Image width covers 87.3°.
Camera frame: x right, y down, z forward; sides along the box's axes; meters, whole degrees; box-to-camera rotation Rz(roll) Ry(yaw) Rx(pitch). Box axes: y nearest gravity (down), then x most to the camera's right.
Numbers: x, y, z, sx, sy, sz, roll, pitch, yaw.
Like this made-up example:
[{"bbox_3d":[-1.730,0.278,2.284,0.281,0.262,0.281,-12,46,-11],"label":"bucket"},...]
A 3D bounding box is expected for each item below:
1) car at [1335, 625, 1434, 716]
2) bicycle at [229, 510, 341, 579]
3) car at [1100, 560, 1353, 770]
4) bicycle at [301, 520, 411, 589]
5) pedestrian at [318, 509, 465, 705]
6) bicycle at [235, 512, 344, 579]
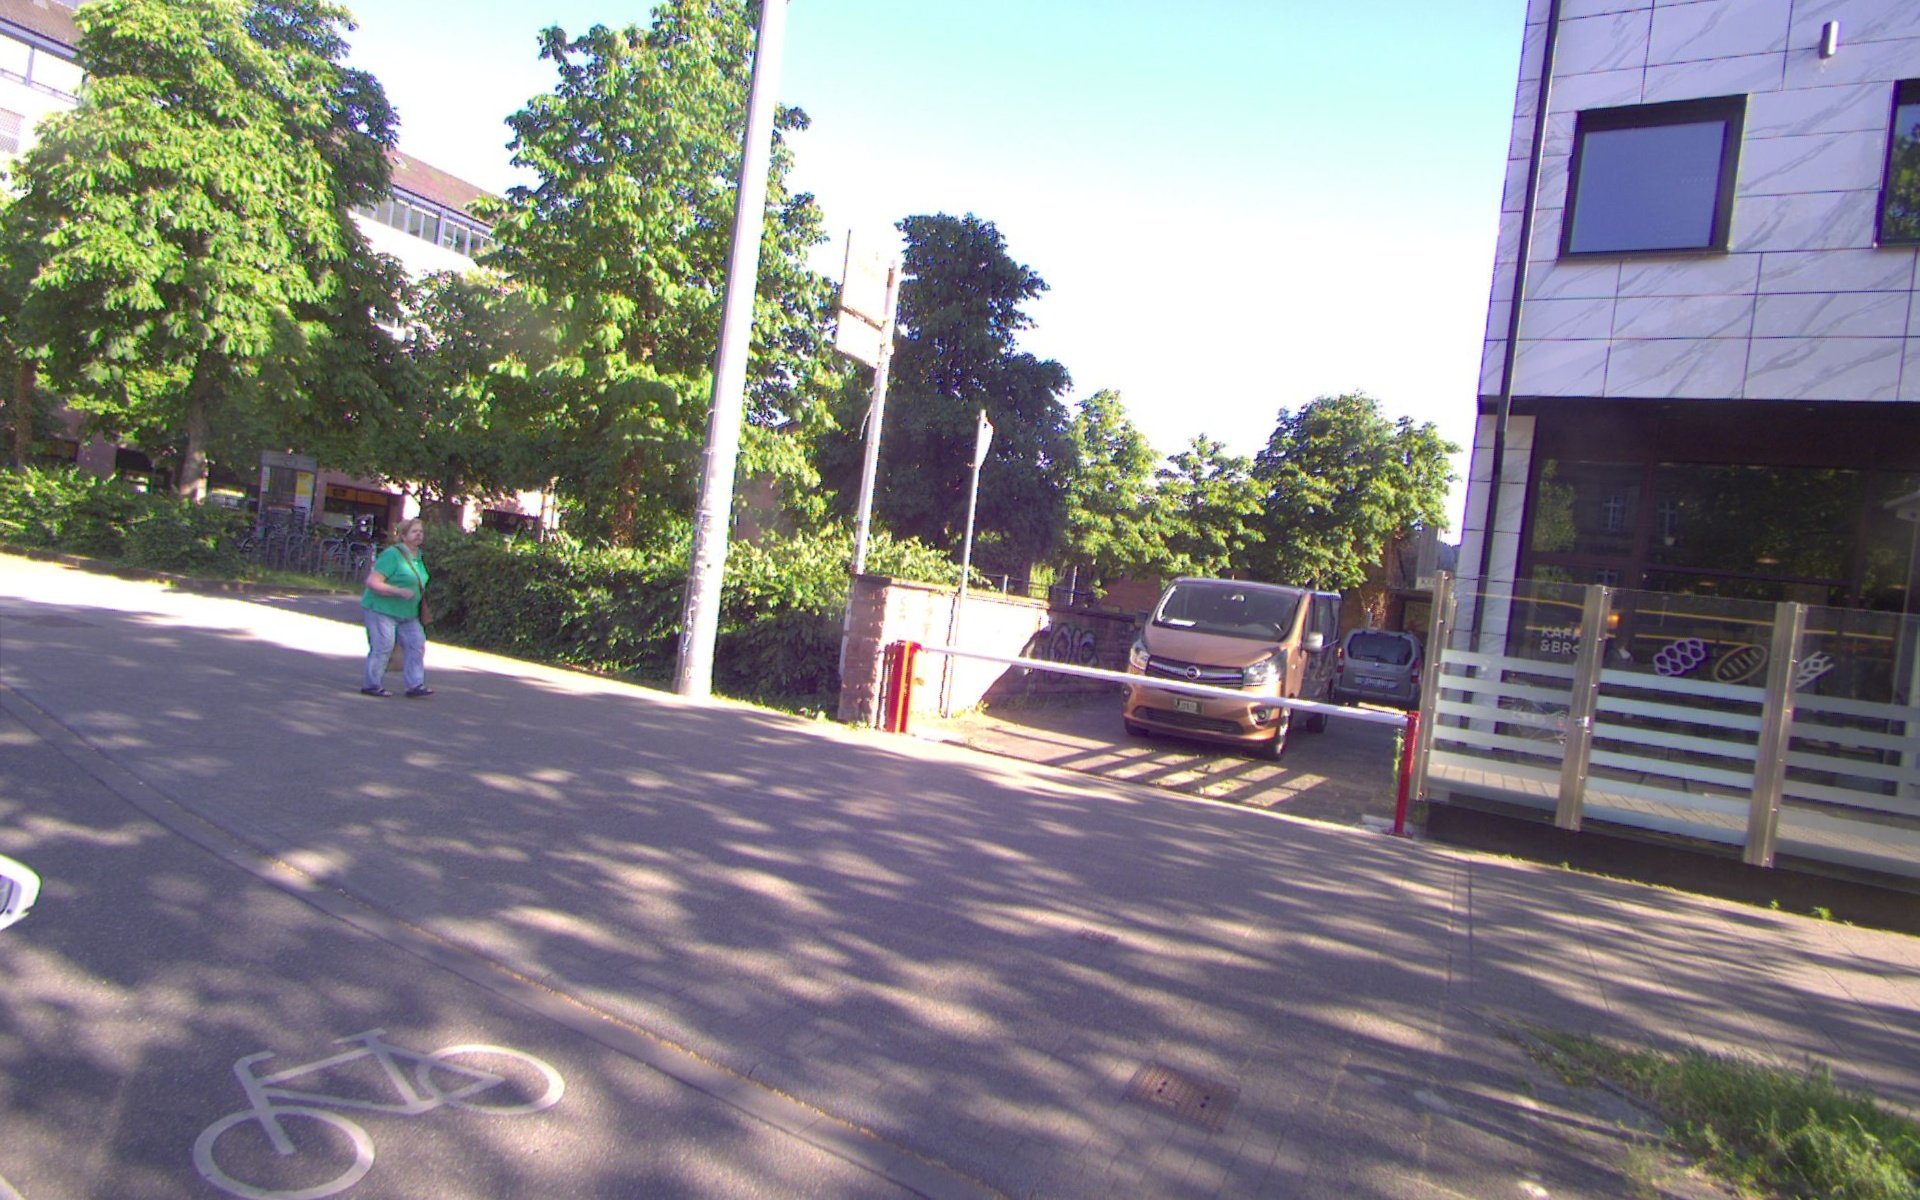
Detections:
[{"bbox_3d":[9.607,1.558,22.635,1.567,1.692,3.616,7,0,28],"label":"car"},{"bbox_3d":[-15.354,-1.241,22.940,0.564,1.331,1.998,7,1,31],"label":"bicycle"},{"bbox_3d":[3.637,0.711,12.938,1.880,2.011,4.901,7,2,28],"label":"car"},{"bbox_3d":[-13.448,-0.984,22.468,0.564,1.331,1.998,7,1,31],"label":"bicycle"},{"bbox_3d":[-5.027,0.062,8.955,0.818,1.595,0.737,6,1,-11],"label":"pedestrian"},{"bbox_3d":[-15.681,-1.250,23.582,0.564,1.331,1.998,7,1,31],"label":"bicycle"}]
